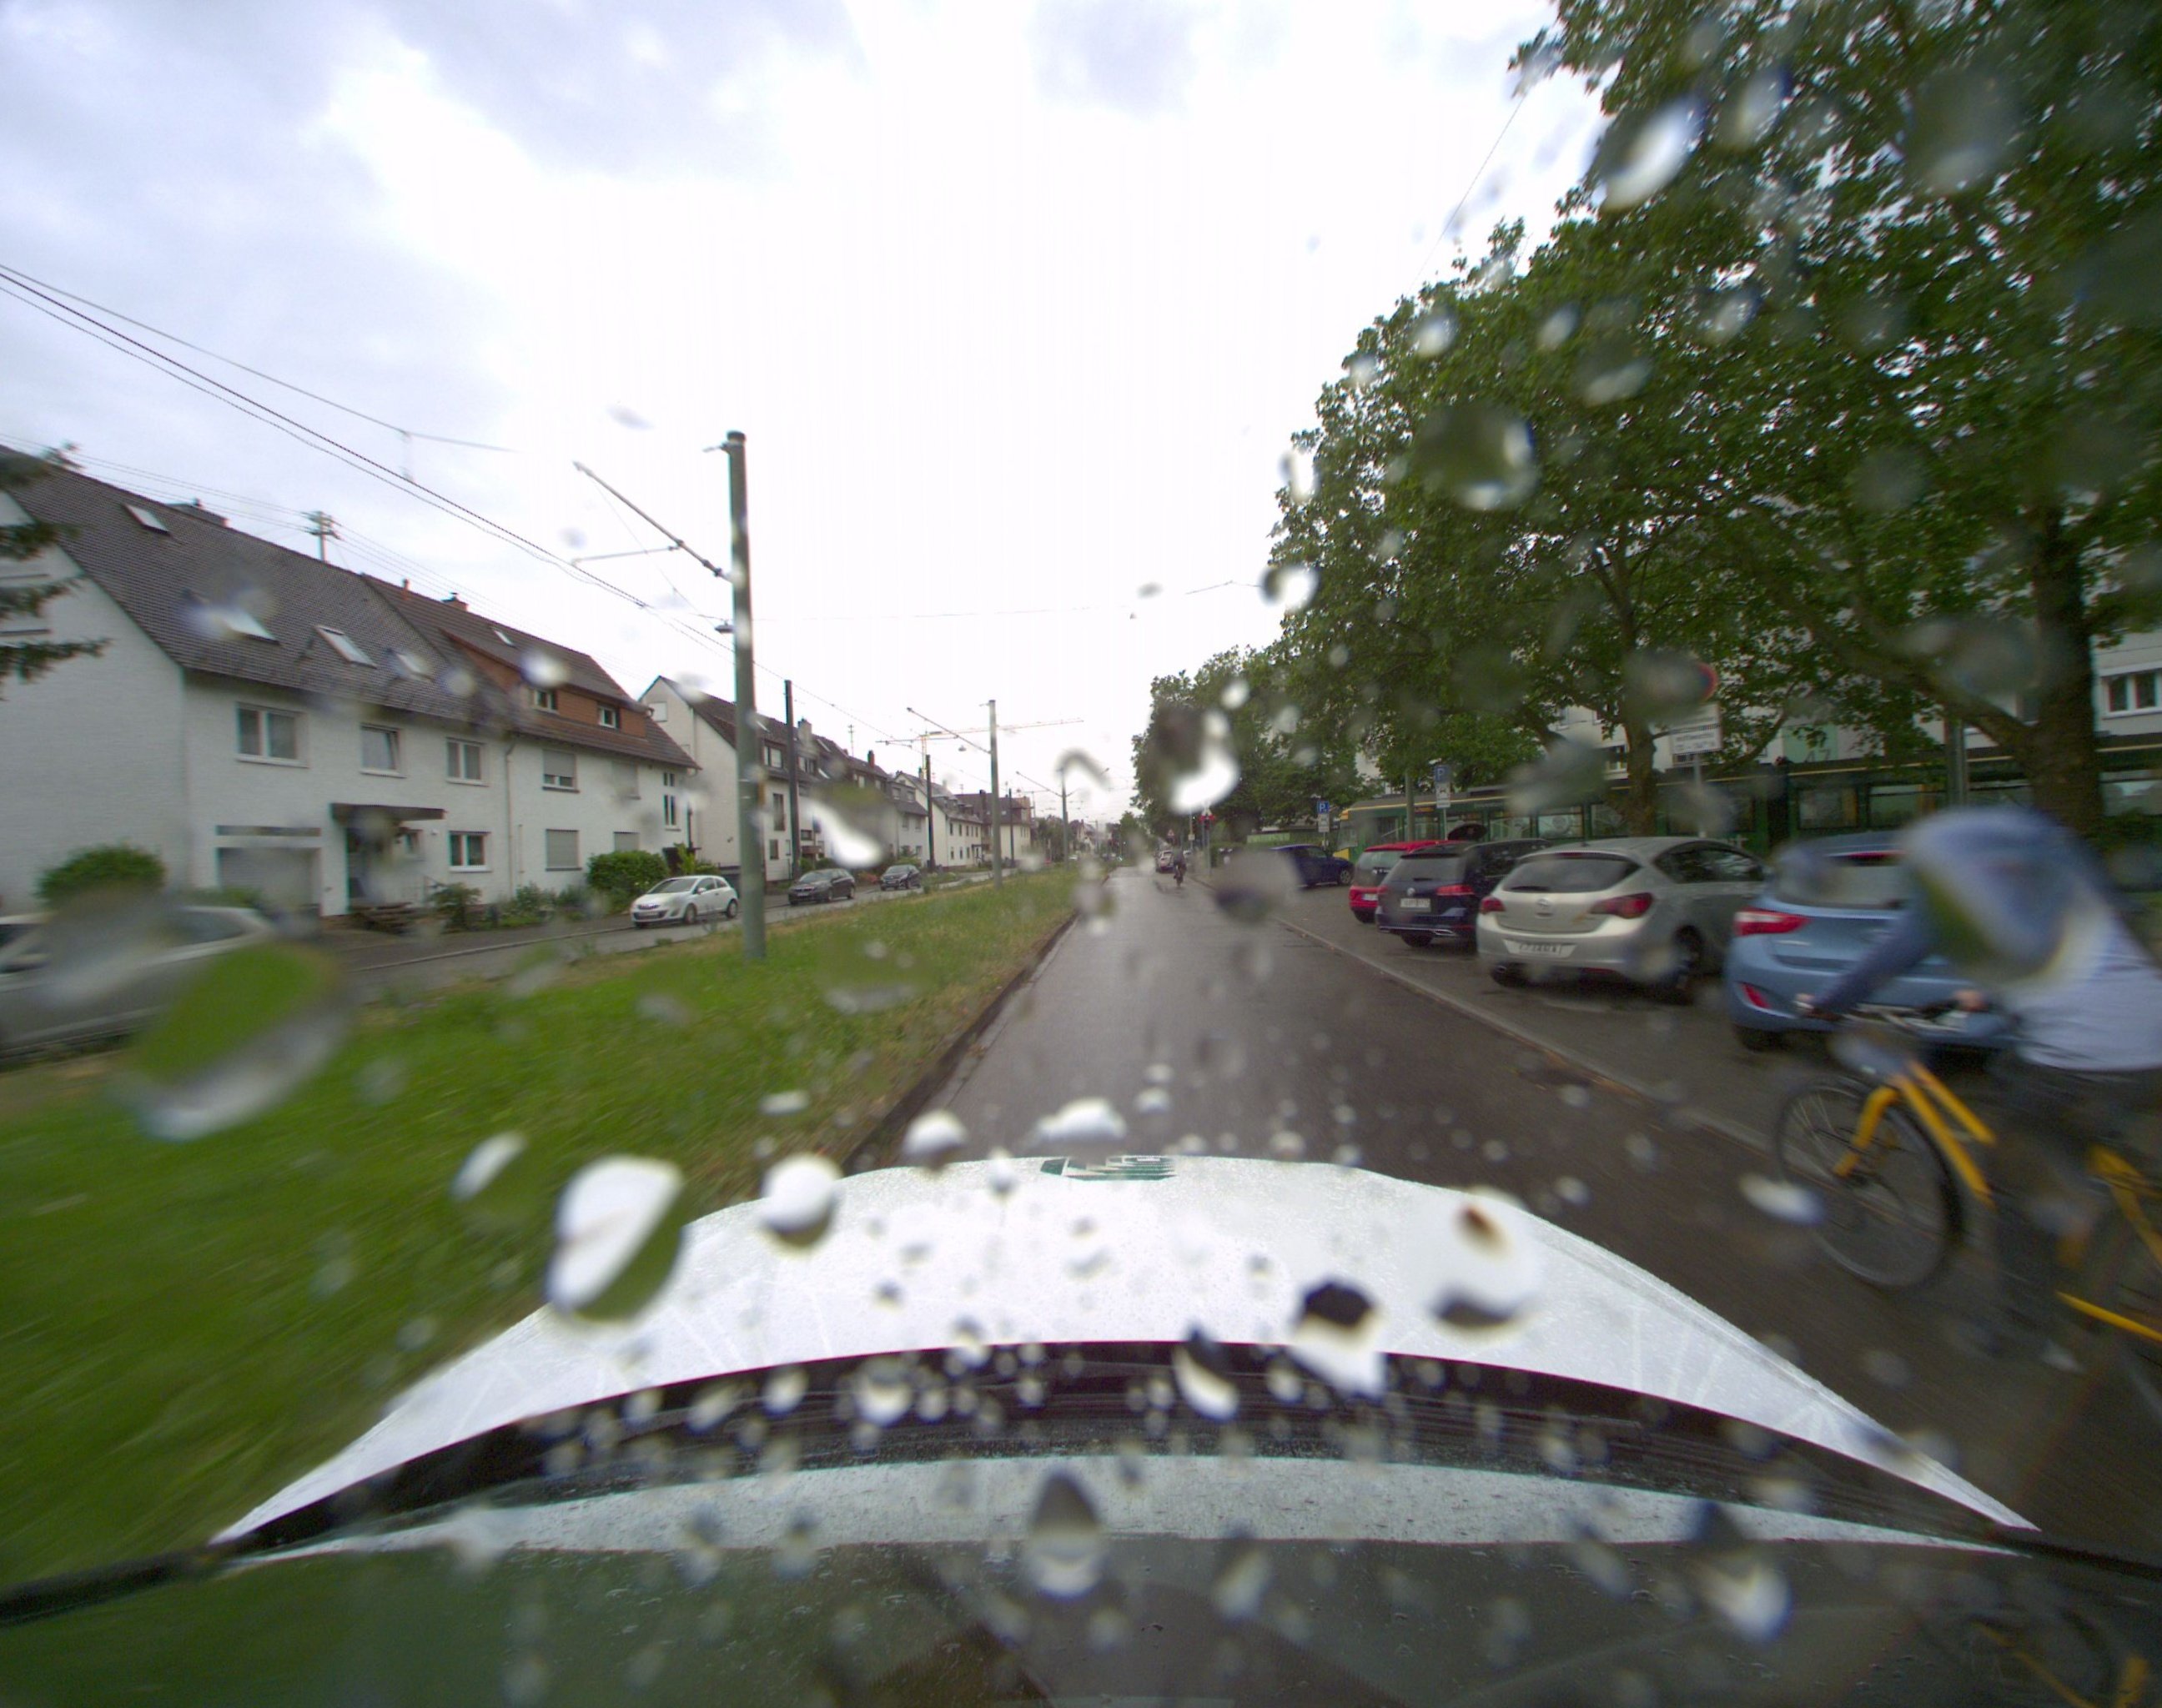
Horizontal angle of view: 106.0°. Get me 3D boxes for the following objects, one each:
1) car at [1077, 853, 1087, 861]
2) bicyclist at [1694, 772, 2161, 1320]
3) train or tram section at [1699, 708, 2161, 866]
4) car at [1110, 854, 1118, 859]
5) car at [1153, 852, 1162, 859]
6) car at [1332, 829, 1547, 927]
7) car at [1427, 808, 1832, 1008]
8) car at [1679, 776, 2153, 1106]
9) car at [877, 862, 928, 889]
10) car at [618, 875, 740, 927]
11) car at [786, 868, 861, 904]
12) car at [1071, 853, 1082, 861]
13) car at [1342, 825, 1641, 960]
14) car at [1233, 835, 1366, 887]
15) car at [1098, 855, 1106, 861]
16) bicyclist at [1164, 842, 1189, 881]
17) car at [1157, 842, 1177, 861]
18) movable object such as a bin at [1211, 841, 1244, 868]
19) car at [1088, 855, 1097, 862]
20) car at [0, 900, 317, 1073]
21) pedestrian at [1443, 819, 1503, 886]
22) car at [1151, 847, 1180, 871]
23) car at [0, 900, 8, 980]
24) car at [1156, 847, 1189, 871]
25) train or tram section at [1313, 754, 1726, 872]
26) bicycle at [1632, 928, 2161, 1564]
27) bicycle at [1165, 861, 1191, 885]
[{"bbox_3d":[0.230,0.643,179.979,1.984,1.705,4.005,-3,-2,5],"label":"car"},{"bbox_3d":[2.688,0.525,2.649,0.747,1.485,0.848,-3,1,6],"label":"bicyclist"},{"bbox_3d":[25.639,-1.640,21.478,2.728,3.590,14.565,-1,-1,-39],"label":"train or tram section"},{"bbox_3d":[10.211,0.753,251.759,1.984,1.544,4.005,-3,-2,5],"label":"car"},{"bbox_3d":[18.367,0.285,195.208,1.985,1.492,4.003,-3,-2,4],"label":"car"},{"bbox_3d":[6.748,0.399,15.349,3.603,1.480,1.625,-4,0,-23],"label":"car"},{"bbox_3d":[5.846,0.438,8.613,4.013,1.553,1.941,-4,-1,-31],"label":"car"},{"bbox_3d":[6.164,0.357,5.872,4.019,1.500,1.804,-6,0,-37],"label":"car"},{"bbox_3d":[-10.725,1.327,49.225,1.869,1.503,4.136,-3,-2,3],"label":"car"},{"bbox_3d":[-12.403,1.426,25.402,1.594,1.424,3.947,-3,-2,4],"label":"car"},{"bbox_3d":[-11.498,1.432,36.711,1.594,1.424,4.671,-3,-2,4],"label":"car"},{"bbox_3d":[-0.888,0.579,173.103,1.984,1.544,4.005,-3,-2,5],"label":"car"},{"bbox_3d":[6.046,0.461,11.933,4.134,1.480,1.849,-4,0,-29],"label":"car"},{"bbox_3d":[7.320,0.188,27.294,4.011,1.483,1.982,-3,1,-28],"label":"car"},{"bbox_3d":[6.087,1.251,230.896,1.984,1.544,4.005,-3,-2,5],"label":"car"},{"bbox_3d":[3.964,0.296,33.870,0.828,1.558,0.914,-3,-1,0],"label":"bicyclist"},{"bbox_3d":[9.887,-0.230,93.970,1.934,2.013,4.002,-4,-1,2],"label":"car"},{"bbox_3d":[9.918,0.042,55.196,1.555,1.704,1.490,-3,0,-20],"label":"movable object such as a bin"},{"bbox_3d":[2.966,1.033,204.602,1.984,1.544,4.005,-3,-2,5],"label":"car"},{"bbox_3d":[-10.097,1.244,7.897,1.593,1.424,3.824,-3,-2,4],"label":"car"},{"bbox_3d":[10.532,-0.042,21.925,1.040,1.714,1.081,-3,0,3],"label":"pedestrian"},{"bbox_3d":[6.463,0.428,62.624,1.934,1.652,4.002,-4,-1,2],"label":"car"},{"bbox_3d":[-20.145,1.578,12.493,1.985,1.564,3.899,-2,3,3],"label":"car"},{"bbox_3d":[6.402,0.370,57.482,1.947,1.553,4.002,-4,-1,2],"label":"car"},{"bbox_3d":[16.404,-1.217,32.727,2.728,3.590,14.565,-1,-1,-39],"label":"train or tram section"},{"bbox_3d":[2.693,0.895,2.568,0.749,1.072,1.931,-3,1,6],"label":"bicycle"},{"bbox_3d":[3.996,0.770,33.746,0.818,0.912,1.985,-3,-1,1],"label":"bicycle"}]
